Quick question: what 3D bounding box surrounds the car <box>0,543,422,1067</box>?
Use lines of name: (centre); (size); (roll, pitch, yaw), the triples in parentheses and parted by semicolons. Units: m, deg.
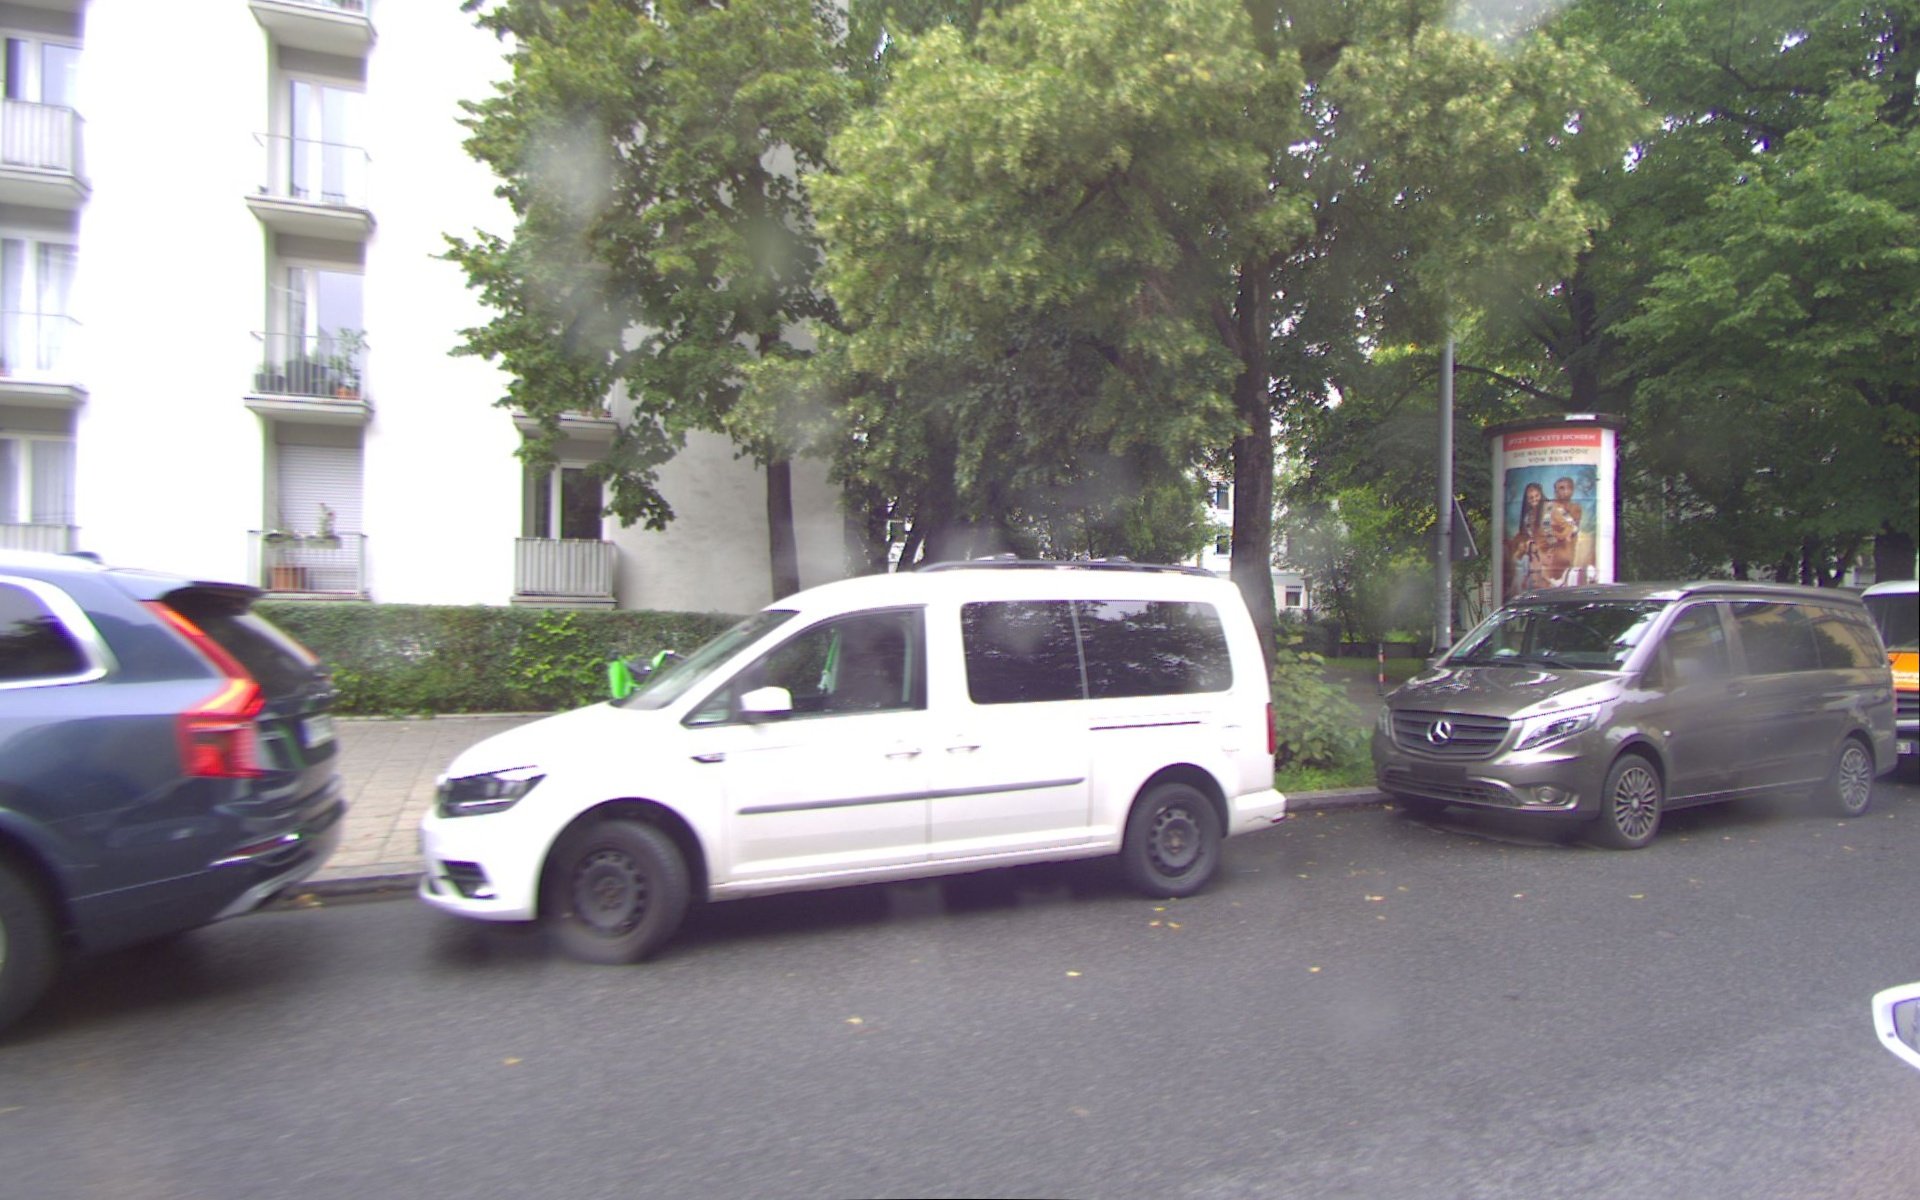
car: (-5.082, 0.664, 3.689); (5.228, 1.742, 2.080); (1, -1, -22)

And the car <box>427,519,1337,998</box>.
car: (-0.345, 0.705, 5.983); (4.790, 1.929, 2.079); (1, -1, -24)

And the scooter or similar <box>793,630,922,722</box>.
scooter or similar: (-1.422, 1.029, 13.920); (1.636, 1.207, 0.699); (1, -1, -26)

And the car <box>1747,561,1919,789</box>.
car: (11.993, 0.836, 11.724); (5.525, 2.294, 2.078); (1, -3, -25)

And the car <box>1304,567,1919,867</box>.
car: (5.790, 0.854, 8.658); (5.592, 1.933, 2.020); (1, -3, -26)

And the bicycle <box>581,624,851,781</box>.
bicycle: (-1.764, 0.704, 7.302); (1.826, 1.039, 0.616); (1, -1, -23)

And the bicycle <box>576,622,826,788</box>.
bicycle: (-2.027, 0.781, 7.893); (1.826, 1.195, 0.616); (1, -1, -23)
